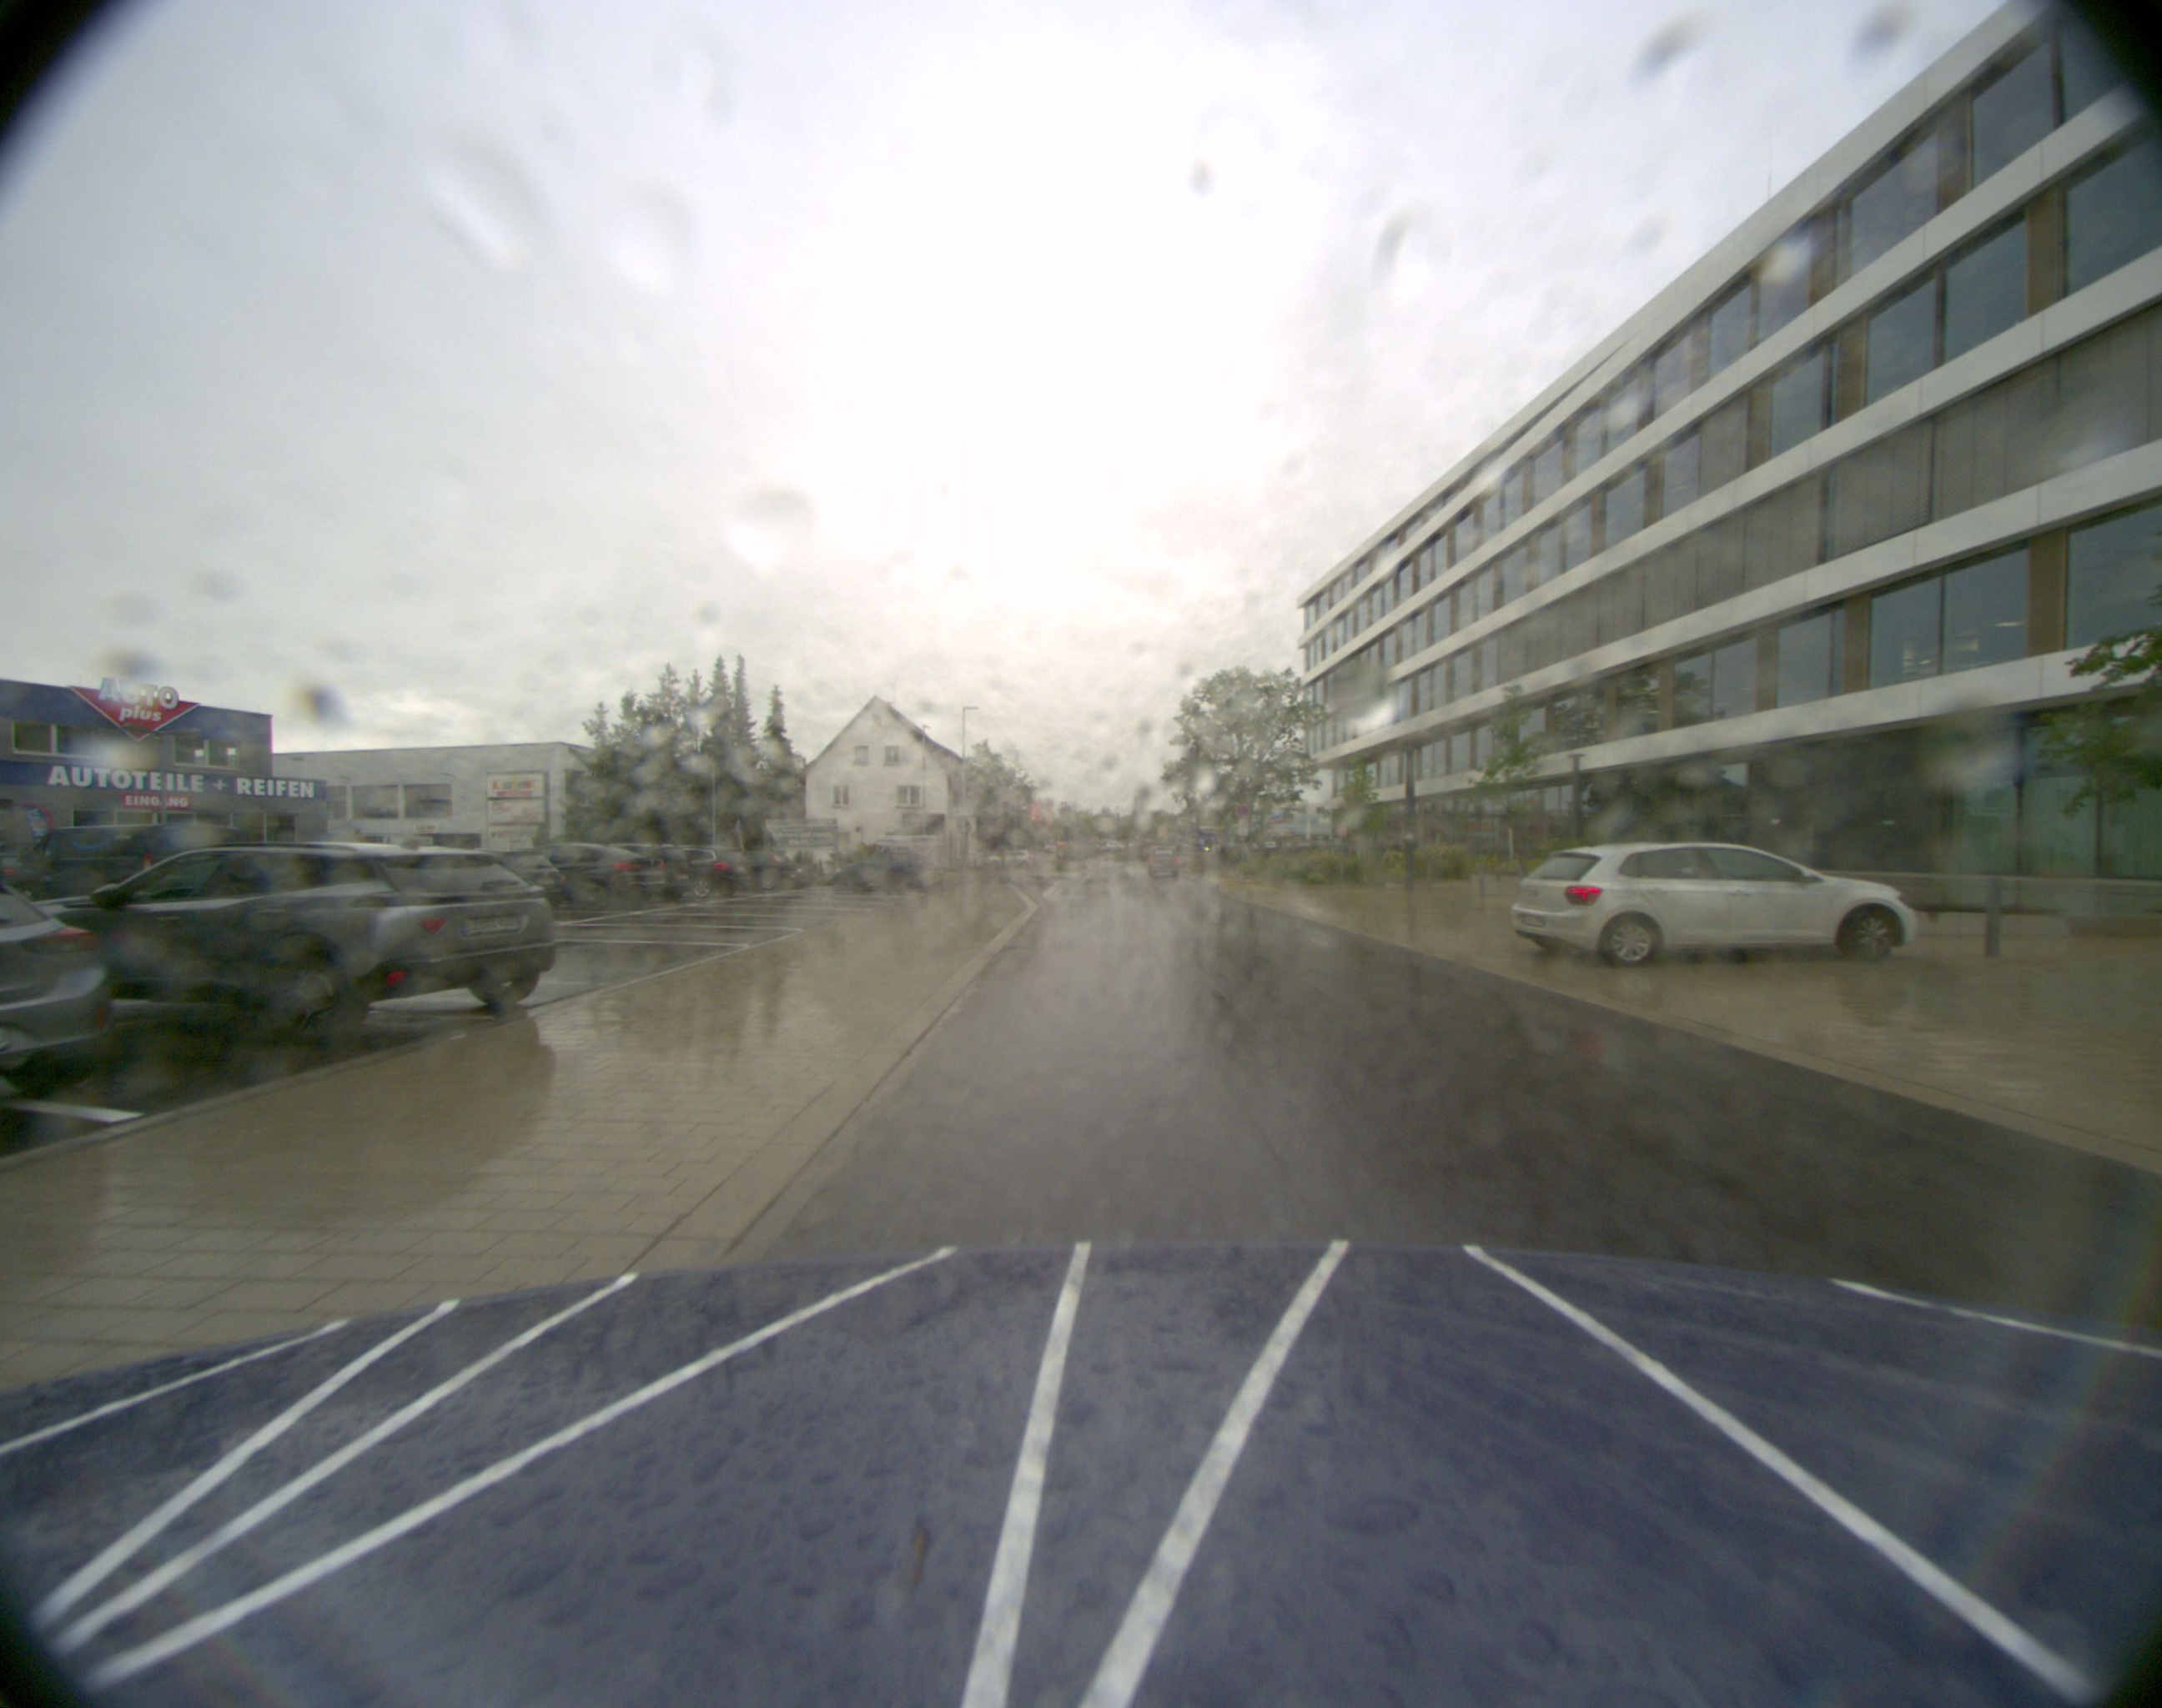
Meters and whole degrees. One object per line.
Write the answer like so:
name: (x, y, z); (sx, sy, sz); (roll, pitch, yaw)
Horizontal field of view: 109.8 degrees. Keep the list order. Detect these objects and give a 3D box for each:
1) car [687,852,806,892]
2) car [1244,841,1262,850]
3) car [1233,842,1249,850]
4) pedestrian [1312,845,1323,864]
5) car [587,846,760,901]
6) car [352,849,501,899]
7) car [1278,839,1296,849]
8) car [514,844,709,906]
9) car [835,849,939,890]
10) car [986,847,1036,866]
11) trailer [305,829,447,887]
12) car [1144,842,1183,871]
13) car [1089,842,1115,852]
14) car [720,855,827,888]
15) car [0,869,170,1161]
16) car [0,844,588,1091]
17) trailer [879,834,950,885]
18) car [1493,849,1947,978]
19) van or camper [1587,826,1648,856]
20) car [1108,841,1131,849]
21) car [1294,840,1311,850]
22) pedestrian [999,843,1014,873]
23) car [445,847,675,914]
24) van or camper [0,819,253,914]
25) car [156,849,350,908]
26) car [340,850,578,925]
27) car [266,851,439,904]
car: (-12.601, 0.666, 28.787); (3.736, 1.441, 1.730); (0, 1, -2)
car: (26.328, -1.268, 116.100); (1.883, 1.288, 4.006); (-3, 0, 25)
car: (27.324, -1.405, 129.688); (1.883, 1.288, 4.006); (-3, 0, 25)
pedestrian: (21.631, 0.015, 69.556); (0.726, 1.694, 0.956); (-4, 2, 4)
car: (-12.604, 0.577, 23.705); (4.366, 1.642, 1.844); (0, 1, -1)
car: (-23.740, 0.689, 27.622); (4.134, 1.657, 1.866); (1, 1, 10)
car: (31.005, -1.516, 114.414); (1.883, 1.288, 4.006); (-3, 0, 25)
car: (-13.046, 0.546, 21.299); (4.365, 1.649, 1.786); (0, 1, 1)
car: (-7.783, 0.602, 30.664); (3.735, 1.520, 1.650); (1, 2, 1)
car: (-6.216, 0.247, 67.260); (4.144, 1.571, 1.997); (1, 0, -13)
trailer: (-38.522, 0.186, 41.569); (5.878, 2.720, 2.938); (-3, 2, 17)
car: (5.359, 0.167, 50.108); (2.008, 1.807, 4.978); (0, 0, 0)
car: (3.714, -1.205, 135.633); (4.095, 1.696, 2.004); (0, 0, 28)
car: (-12.579, 0.689, 31.248); (3.736, 1.308, 1.692); (0, 1, -3)
car: (-7.472, 0.838, 4.020); (3.627, 1.486, 1.807); (1, 1, 10)
car: (-7.025, 0.793, 6.728); (4.214, 1.640, 2.001); (2, 1, 10)
trailer: (-7.213, 0.231, 33.102); (2.708, 2.159, 1.548); (0, 1, 3)
car: (7.539, 0.651, 9.322); (3.937, 1.415, 1.898); (0, 1, 1)
van or camper: (58.637, -1.374, 83.185); (5.090, 3.070, 2.003); (-2, 0, 22)
car: (7.402, -1.649, 145.042); (3.990, 1.433, 2.003); (0, 0, 25)
car: (33.079, -1.345, 113.436); (1.883, 1.288, 4.006); (-3, 0, 25)
pedestrian: (-5.205, 0.263, 52.950); (0.861, 2.002, 1.195); (2, 1, -1)
car: (-12.707, 0.609, 18.755); (4.366, 1.550, 1.839); (0, 1, -1)
van or camper: (-25.641, 0.278, 20.388); (4.963, 2.312, 2.224); (1, 1, 8)
car: (-24.772, 0.690, 22.800); (4.362, 1.574, 1.866); (1, 1, 10)
car: (-13.127, 0.677, 16.190); (3.695, 1.492, 1.642); (0, 1, 1)
car: (-23.902, 0.715, 24.982); (4.362, 1.574, 1.866); (1, 1, 10)
